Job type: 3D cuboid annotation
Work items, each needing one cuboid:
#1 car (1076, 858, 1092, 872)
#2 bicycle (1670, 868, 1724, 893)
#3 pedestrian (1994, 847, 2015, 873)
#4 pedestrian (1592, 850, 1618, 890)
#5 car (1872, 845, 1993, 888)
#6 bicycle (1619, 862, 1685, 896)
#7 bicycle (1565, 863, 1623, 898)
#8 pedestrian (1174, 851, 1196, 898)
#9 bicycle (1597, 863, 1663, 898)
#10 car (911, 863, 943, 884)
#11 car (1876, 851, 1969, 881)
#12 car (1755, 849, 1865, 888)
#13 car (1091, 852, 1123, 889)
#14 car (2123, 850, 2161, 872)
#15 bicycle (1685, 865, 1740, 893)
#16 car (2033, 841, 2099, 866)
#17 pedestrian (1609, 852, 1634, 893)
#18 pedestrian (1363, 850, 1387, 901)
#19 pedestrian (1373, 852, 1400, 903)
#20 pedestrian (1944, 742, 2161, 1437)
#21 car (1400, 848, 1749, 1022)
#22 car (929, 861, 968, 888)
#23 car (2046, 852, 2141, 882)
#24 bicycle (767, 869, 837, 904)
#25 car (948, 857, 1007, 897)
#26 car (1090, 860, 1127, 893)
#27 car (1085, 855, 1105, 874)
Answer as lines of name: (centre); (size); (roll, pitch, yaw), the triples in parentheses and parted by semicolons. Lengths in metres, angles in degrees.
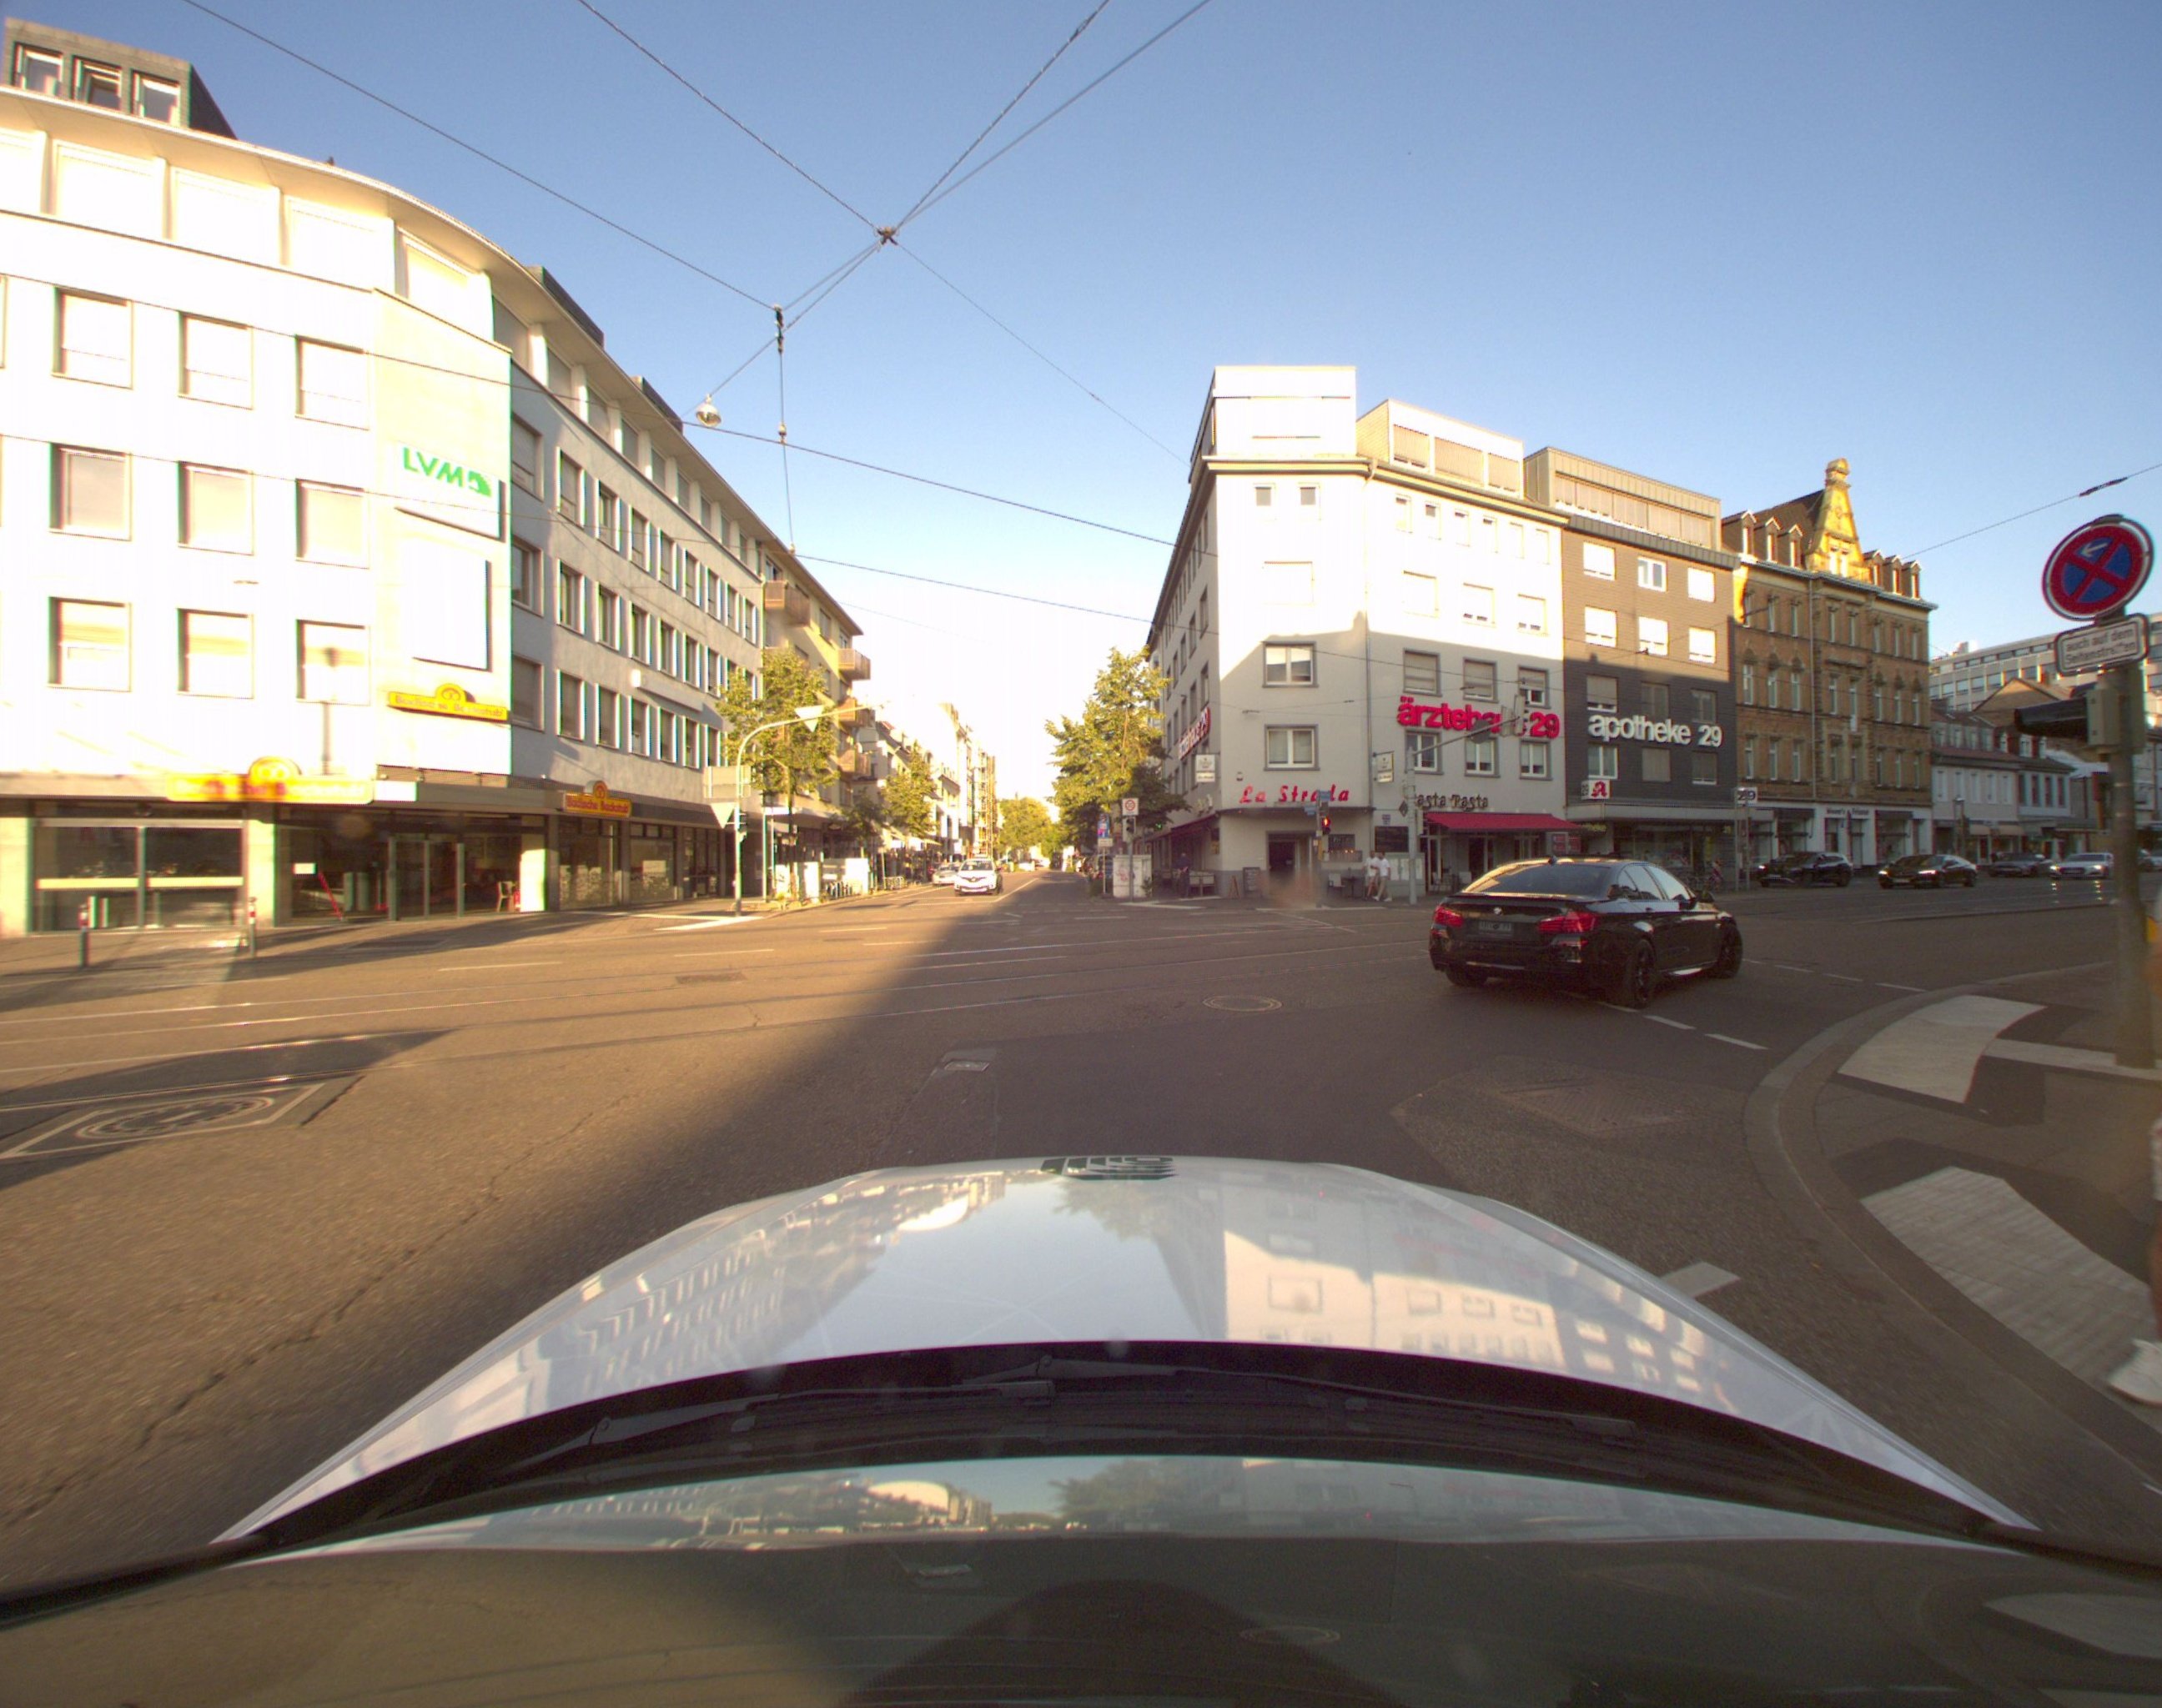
car: (0.374, 1.378, 101.767); (1.844, 1.794, 4.002); (-1, -1, 2)
bicycle: (25.400, 1.067, 33.621); (0.456, 0.912, 1.797); (-2, 2, -23)
pedestrian: (57.775, 0.382, 50.953); (0.695, 1.644, 0.659); (0, 0, -24)
pedestrian: (22.278, 0.672, 34.628); (0.625, 1.661, 0.679); (-1, 0, -24)
car: (36.258, 0.540, 34.690); (4.732, 1.728, 1.984); (0, -3, -23)
bicycle: (22.205, 0.942, 31.711); (0.554, 1.224, 2.102); (1, 1, -24)
bicycle: (19.489, 0.986, 30.985); (0.554, 1.211, 1.882); (0, 1, -23)
pedestrian: (3.806, 0.753, 29.899); (0.709, 1.676, 0.703); (-1, -1, -1)
bicycle: (20.963, 1.004, 31.152); (0.554, 1.224, 2.103); (0, 1, -23)
car: (-11.788, 1.506, 62.647); (1.830, 1.556, 3.776); (-2, -1, -2)
car: (43.621, 0.608, 42.208); (4.615, 1.453, 1.860); (0, -1, -23)
car: (33.132, 0.608, 37.022); (4.649, 1.674, 1.922); (-1, 1, -22)
car: (1.435, 0.866, 44.610); (1.633, 1.873, 3.609); (2, 0, 2)
car: (73.729, 0.484, 55.611); (4.827, 1.453, 1.985); (0, -1, -23)
bicycle: (26.240, 1.020, 33.877); (0.490, 1.047, 1.823); (-2, 2, -23)
car: (60.330, -0.034, 49.871); (3.817, 1.440, 1.591); (0, -1, -24)
pedestrian: (22.540, 0.766, 33.967); (0.603, 1.699, 0.617); (-1, 0, -24)
pedestrian: (10.377, 0.738, 28.730); (0.597, 1.779, 0.638); (0, -1, -2)
pedestrian: (10.492, 0.794, 28.013); (0.665, 1.744, 0.638); (0, -1, -2)
pedestrian: (3.024, 0.589, 2.182); (0.650, 1.742, 0.693); (-1, -1, -2)
car: (5.713, 0.707, 9.198); (4.486, 1.498, 1.938); (0, 0, -38)
car: (-8.128, 1.234, 50.220); (1.830, 1.556, 3.777); (-2, 0, -2)
car: (53.048, 0.668, 42.675); (4.662, 1.453, 1.984); (0, -1, -24)
bicycle: (-10.531, 1.230, 30.791); (2.363, 1.253, 0.638); (1, -1, -5)
car: (-4.361, 0.985, 34.910); (2.102, 1.556, 4.009); (-2, -1, -2)
car: (1.314, 1.018, 38.087); (1.633, 1.444, 3.609); (-1, -1, 2)
car: (1.431, 1.028, 81.658); (1.844, 1.794, 4.002); (-1, -1, 2)
